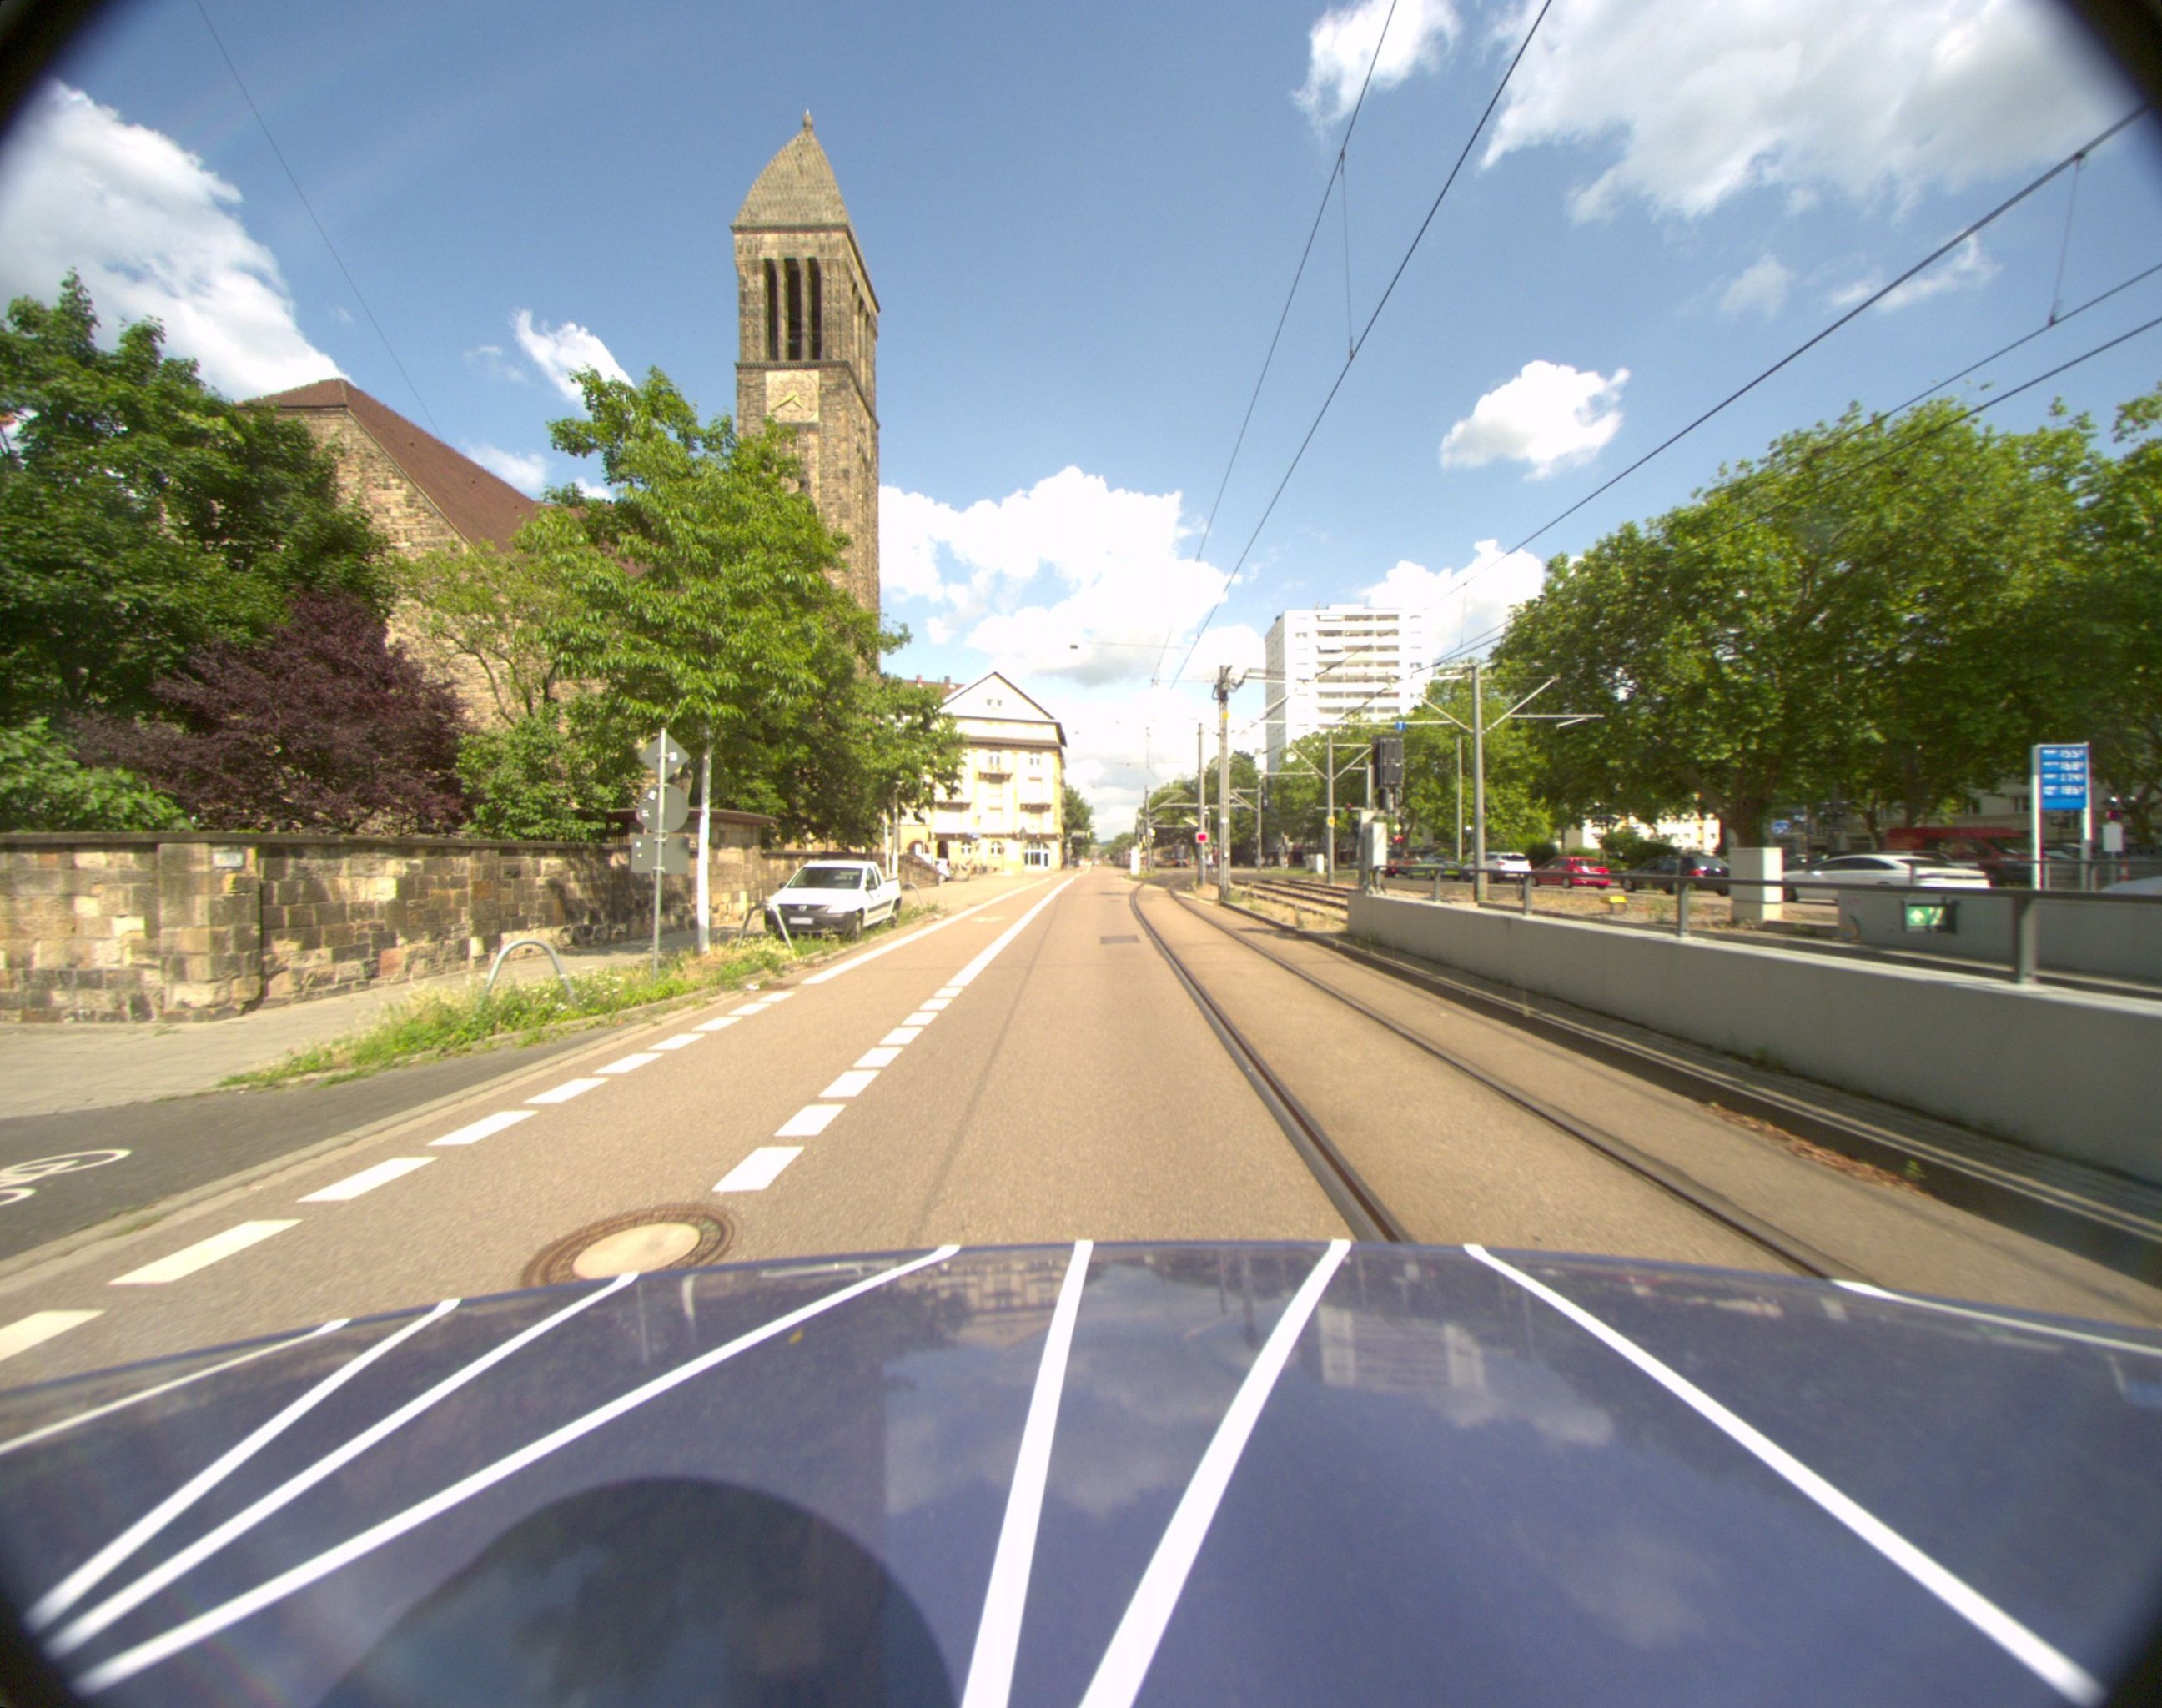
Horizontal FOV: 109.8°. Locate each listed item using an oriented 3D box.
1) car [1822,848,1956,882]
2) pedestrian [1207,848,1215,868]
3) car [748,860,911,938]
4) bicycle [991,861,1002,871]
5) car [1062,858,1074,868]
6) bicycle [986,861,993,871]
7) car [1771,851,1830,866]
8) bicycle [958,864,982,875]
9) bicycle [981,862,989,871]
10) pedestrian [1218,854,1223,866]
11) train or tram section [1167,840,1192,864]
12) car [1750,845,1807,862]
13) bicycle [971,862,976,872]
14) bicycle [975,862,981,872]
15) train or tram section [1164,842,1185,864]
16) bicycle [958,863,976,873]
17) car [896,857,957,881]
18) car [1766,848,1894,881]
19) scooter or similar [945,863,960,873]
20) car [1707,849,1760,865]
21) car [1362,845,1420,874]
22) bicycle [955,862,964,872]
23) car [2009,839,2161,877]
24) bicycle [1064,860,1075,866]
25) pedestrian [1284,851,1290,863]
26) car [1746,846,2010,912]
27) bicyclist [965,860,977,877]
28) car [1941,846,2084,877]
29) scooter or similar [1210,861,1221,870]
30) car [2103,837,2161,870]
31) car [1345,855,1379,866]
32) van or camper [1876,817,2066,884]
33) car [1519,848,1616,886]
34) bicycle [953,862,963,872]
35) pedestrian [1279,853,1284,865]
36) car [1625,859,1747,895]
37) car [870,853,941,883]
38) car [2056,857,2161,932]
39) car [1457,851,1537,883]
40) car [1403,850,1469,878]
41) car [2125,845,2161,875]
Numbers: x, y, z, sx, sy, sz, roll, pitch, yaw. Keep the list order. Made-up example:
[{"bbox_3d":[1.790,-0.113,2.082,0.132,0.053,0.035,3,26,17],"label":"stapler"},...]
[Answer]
[{"bbox_3d":[35.830,0.469,33.856,1.756,1.402,4.000,0,0,0],"label":"car"},{"bbox_3d":[11.247,0.362,65.722,0.528,1.722,0.557,0,0,-4],"label":"pedestrian"},{"bbox_3d":[-5.213,0.878,16.338,1.671,1.408,3.847,-2,-1,9],"label":"car"},{"bbox_3d":[-9.727,1.369,87.083,0.611,1.013,1.872,-1,2,-27],"label":"bicycle"},{"bbox_3d":[-2.231,1.533,131.736,1.851,1.779,4.000,2,0,0],"label":"car"},{"bbox_3d":[-10.475,1.347,86.826,0.610,1.013,1.874,0,2,-15],"label":"bicycle"},{"bbox_3d":[68.773,0.424,72.653,3.942,1.346,1.868,-1,0,-4],"label":"car"},{"bbox_3d":[-10.539,1.473,72.259,2.137,0.983,0.651,-1,0,-28],"label":"bicycle"},{"bbox_3d":[-10.745,1.404,85.208,0.602,1.013,1.877,0,2,2],"label":"bicycle"},{"bbox_3d":[19.390,0.818,105.560,0.671,1.693,0.648,-1,0,4],"label":"pedestrian"},{"bbox_3d":[15.168,-0.269,117.519,2.802,3.540,11.379,-1,0,3],"label":"train or tram section"},{"bbox_3d":[69.222,-0.053,75.466,3.998,1.674,1.999,-1,0,-4],"label":"car"},{"bbox_3d":[-12.039,1.430,84.879,0.540,1.013,1.926,0,2,-10],"label":"bicycle"},{"bbox_3d":[-11.531,1.412,85.210,0.540,1.013,1.926,0,2,-10],"label":"bicycle"},{"bbox_3d":[15.743,-0.138,128.750,2.812,3.540,11.184,-1,0,3],"label":"train or tram section"},{"bbox_3d":[-12.450,1.484,83.080,1.932,1.013,0.538,-2,3,-41],"label":"bicycle"},{"bbox_3d":[-10.409,1.021,51.364,3.776,1.538,1.798,-1,0,0],"label":"car"},{"bbox_3d":[33.098,0.456,33.757,1.756,1.402,4.000,0,0,0],"label":"car"},{"bbox_3d":[-12.071,1.330,71.293,1.133,0.971,0.888,-1,0,-28],"label":"scooter or similar"},{"bbox_3d":[69.091,0.319,80.451,4.081,1.650,1.851,-1,0,-2],"label":"car"},{"bbox_3d":[22.490,0.428,55.408,2.080,1.974,5.337,0,-2,1],"label":"car"},{"bbox_3d":[-13.666,1.427,85.478,0.541,1.013,1.924,-1,2,-25],"label":"bicycle"},{"bbox_3d":[44.194,0.180,33.550,1.529,1.594,4.000,1,0,0],"label":"car"},{"bbox_3d":[-1.881,1.509,124.244,1.693,0.980,0.497,-1,0,-2],"label":"bicycle"},{"bbox_3d":[28.347,0.418,104.380,0.671,1.693,0.648,-1,0,4],"label":"pedestrian"},{"bbox_3d":[21.376,0.605,20.806,1.952,1.597,5.076,0,0,1],"label":"car"},{"bbox_3d":[-10.482,1.381,72.284,0.923,1.494,0.651,-1,-2,-28],"label":"bicyclist"},{"bbox_3d":[41.522,0.329,34.030,1.477,1.286,4.000,2,0,0],"label":"car"},{"bbox_3d":[11.664,0.974,65.749,0.840,0.799,0.553,-1,0,-3],"label":"scooter or similar"},{"bbox_3d":[67.982,-0.008,47.780,3.927,2.002,2.257,2,0,8],"label":"car"},{"bbox_3d":[37.768,0.850,102.126,4.002,1.481,1.858,0,0,-16],"label":"car"},{"bbox_3d":[38.667,-0.136,33.300,2.107,2.626,5.350,2,0,3],"label":"van or camper"},{"bbox_3d":[21.555,0.596,33.875,1.716,1.597,4.145,0,-2,1],"label":"car"},{"bbox_3d":[-13.656,1.435,84.174,0.541,1.013,1.923,-1,3,-28],"label":"bicycle"},{"bbox_3d":[28.020,0.677,106.197,0.671,1.693,0.648,-1,0,4],"label":"pedestrian"},{"bbox_3d":[21.616,0.779,27.340,1.620,1.182,3.634,-1,0,3],"label":"car"},{"bbox_3d":[-11.044,0.867,48.040,4.013,1.813,1.863,-1,0,-2],"label":"car"},{"bbox_3d":[21.148,0.757,13.645,1.726,1.408,4.406,0,0,3],"label":"car"},{"bbox_3d":[22.248,0.672,40.862,1.764,1.597,4.680,0,0,1],"label":"car"},{"bbox_3d":[22.441,0.633,48.318,1.871,1.642,5.154,1,0,1],"label":"car"},{"bbox_3d":[50.302,0.272,33.949,1.766,1.356,4.000,2,0,0],"label":"car"}]
